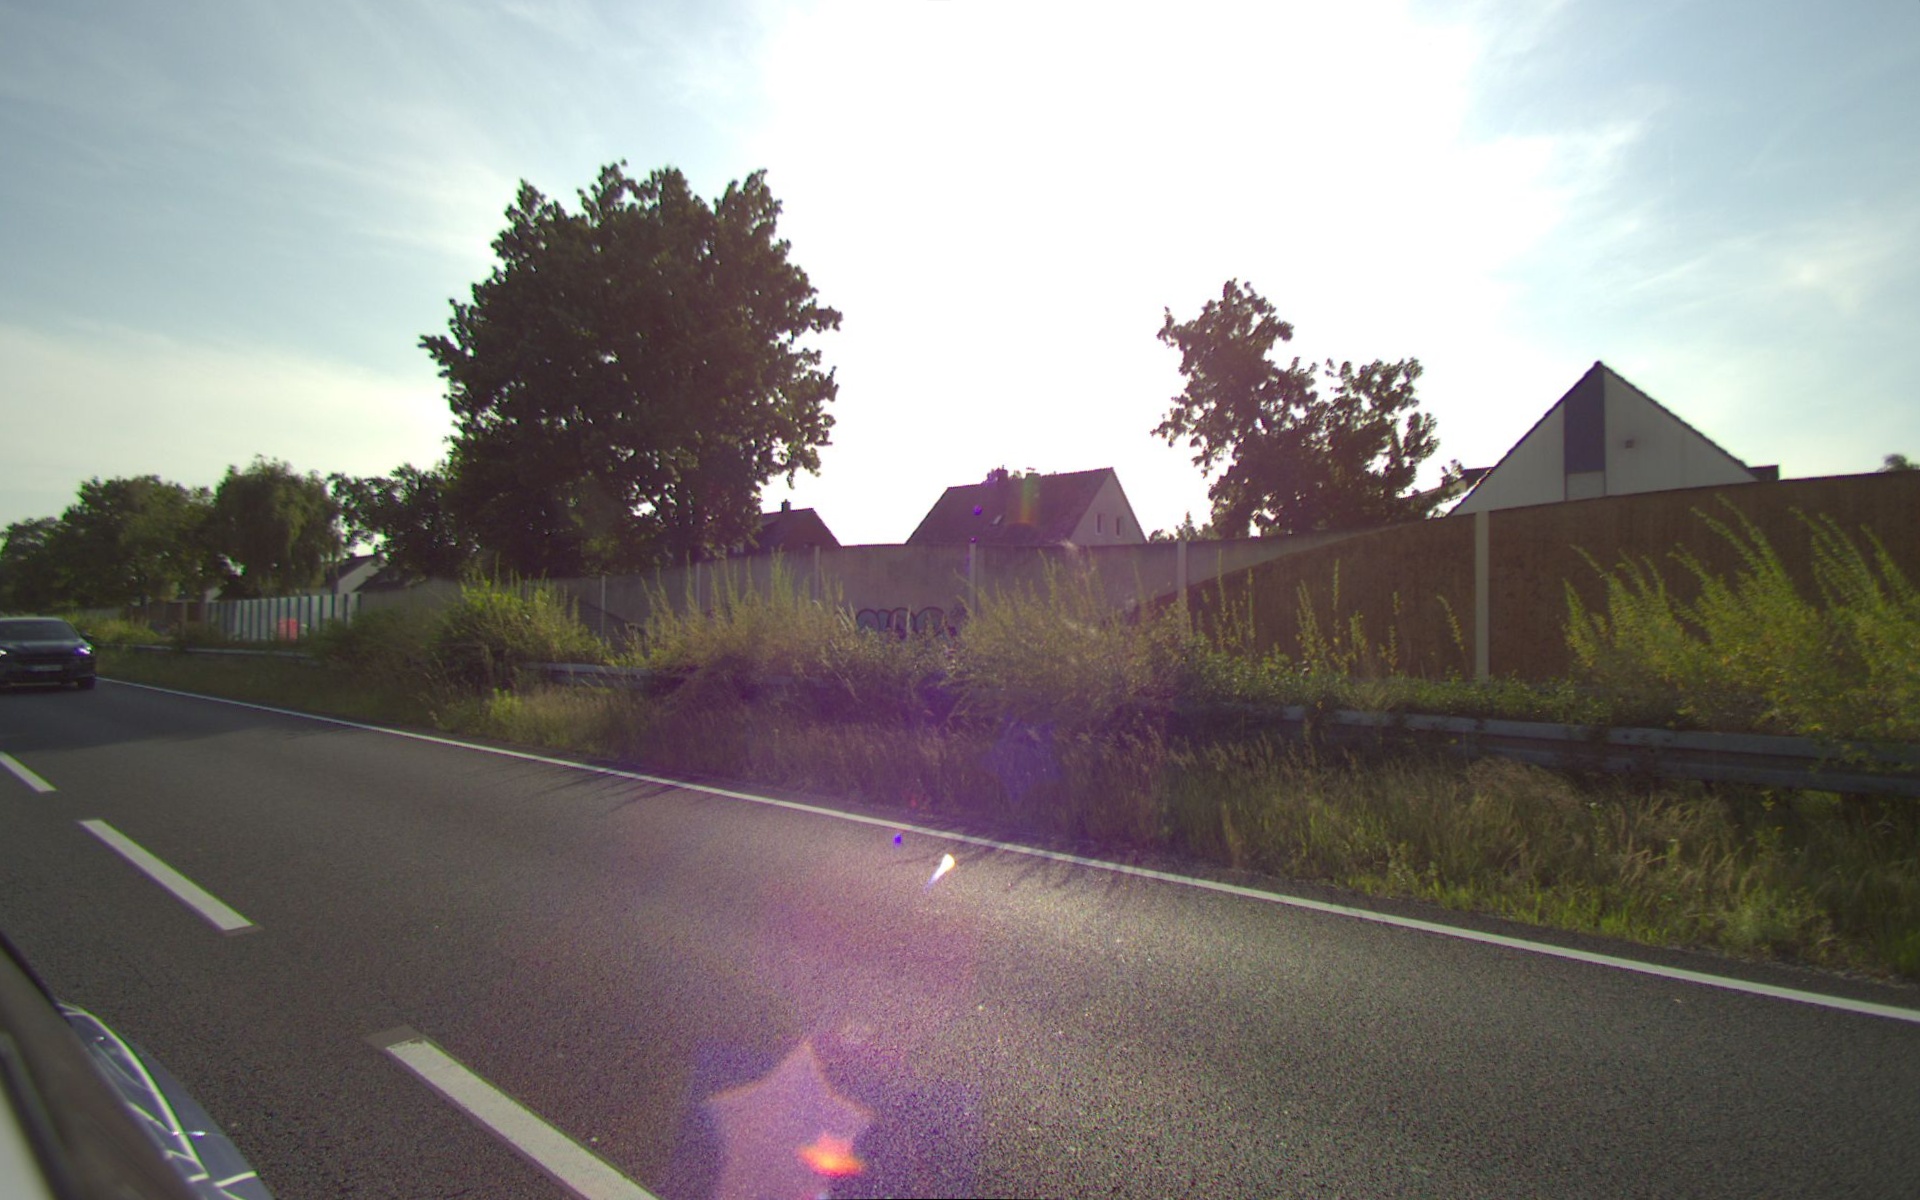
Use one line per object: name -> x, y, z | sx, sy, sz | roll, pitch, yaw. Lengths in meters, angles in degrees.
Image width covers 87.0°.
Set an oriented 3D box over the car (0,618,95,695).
car -> -20.796, 1.192, 22.489 | 4.244, 1.536, 1.798 | -1, 0, 41
